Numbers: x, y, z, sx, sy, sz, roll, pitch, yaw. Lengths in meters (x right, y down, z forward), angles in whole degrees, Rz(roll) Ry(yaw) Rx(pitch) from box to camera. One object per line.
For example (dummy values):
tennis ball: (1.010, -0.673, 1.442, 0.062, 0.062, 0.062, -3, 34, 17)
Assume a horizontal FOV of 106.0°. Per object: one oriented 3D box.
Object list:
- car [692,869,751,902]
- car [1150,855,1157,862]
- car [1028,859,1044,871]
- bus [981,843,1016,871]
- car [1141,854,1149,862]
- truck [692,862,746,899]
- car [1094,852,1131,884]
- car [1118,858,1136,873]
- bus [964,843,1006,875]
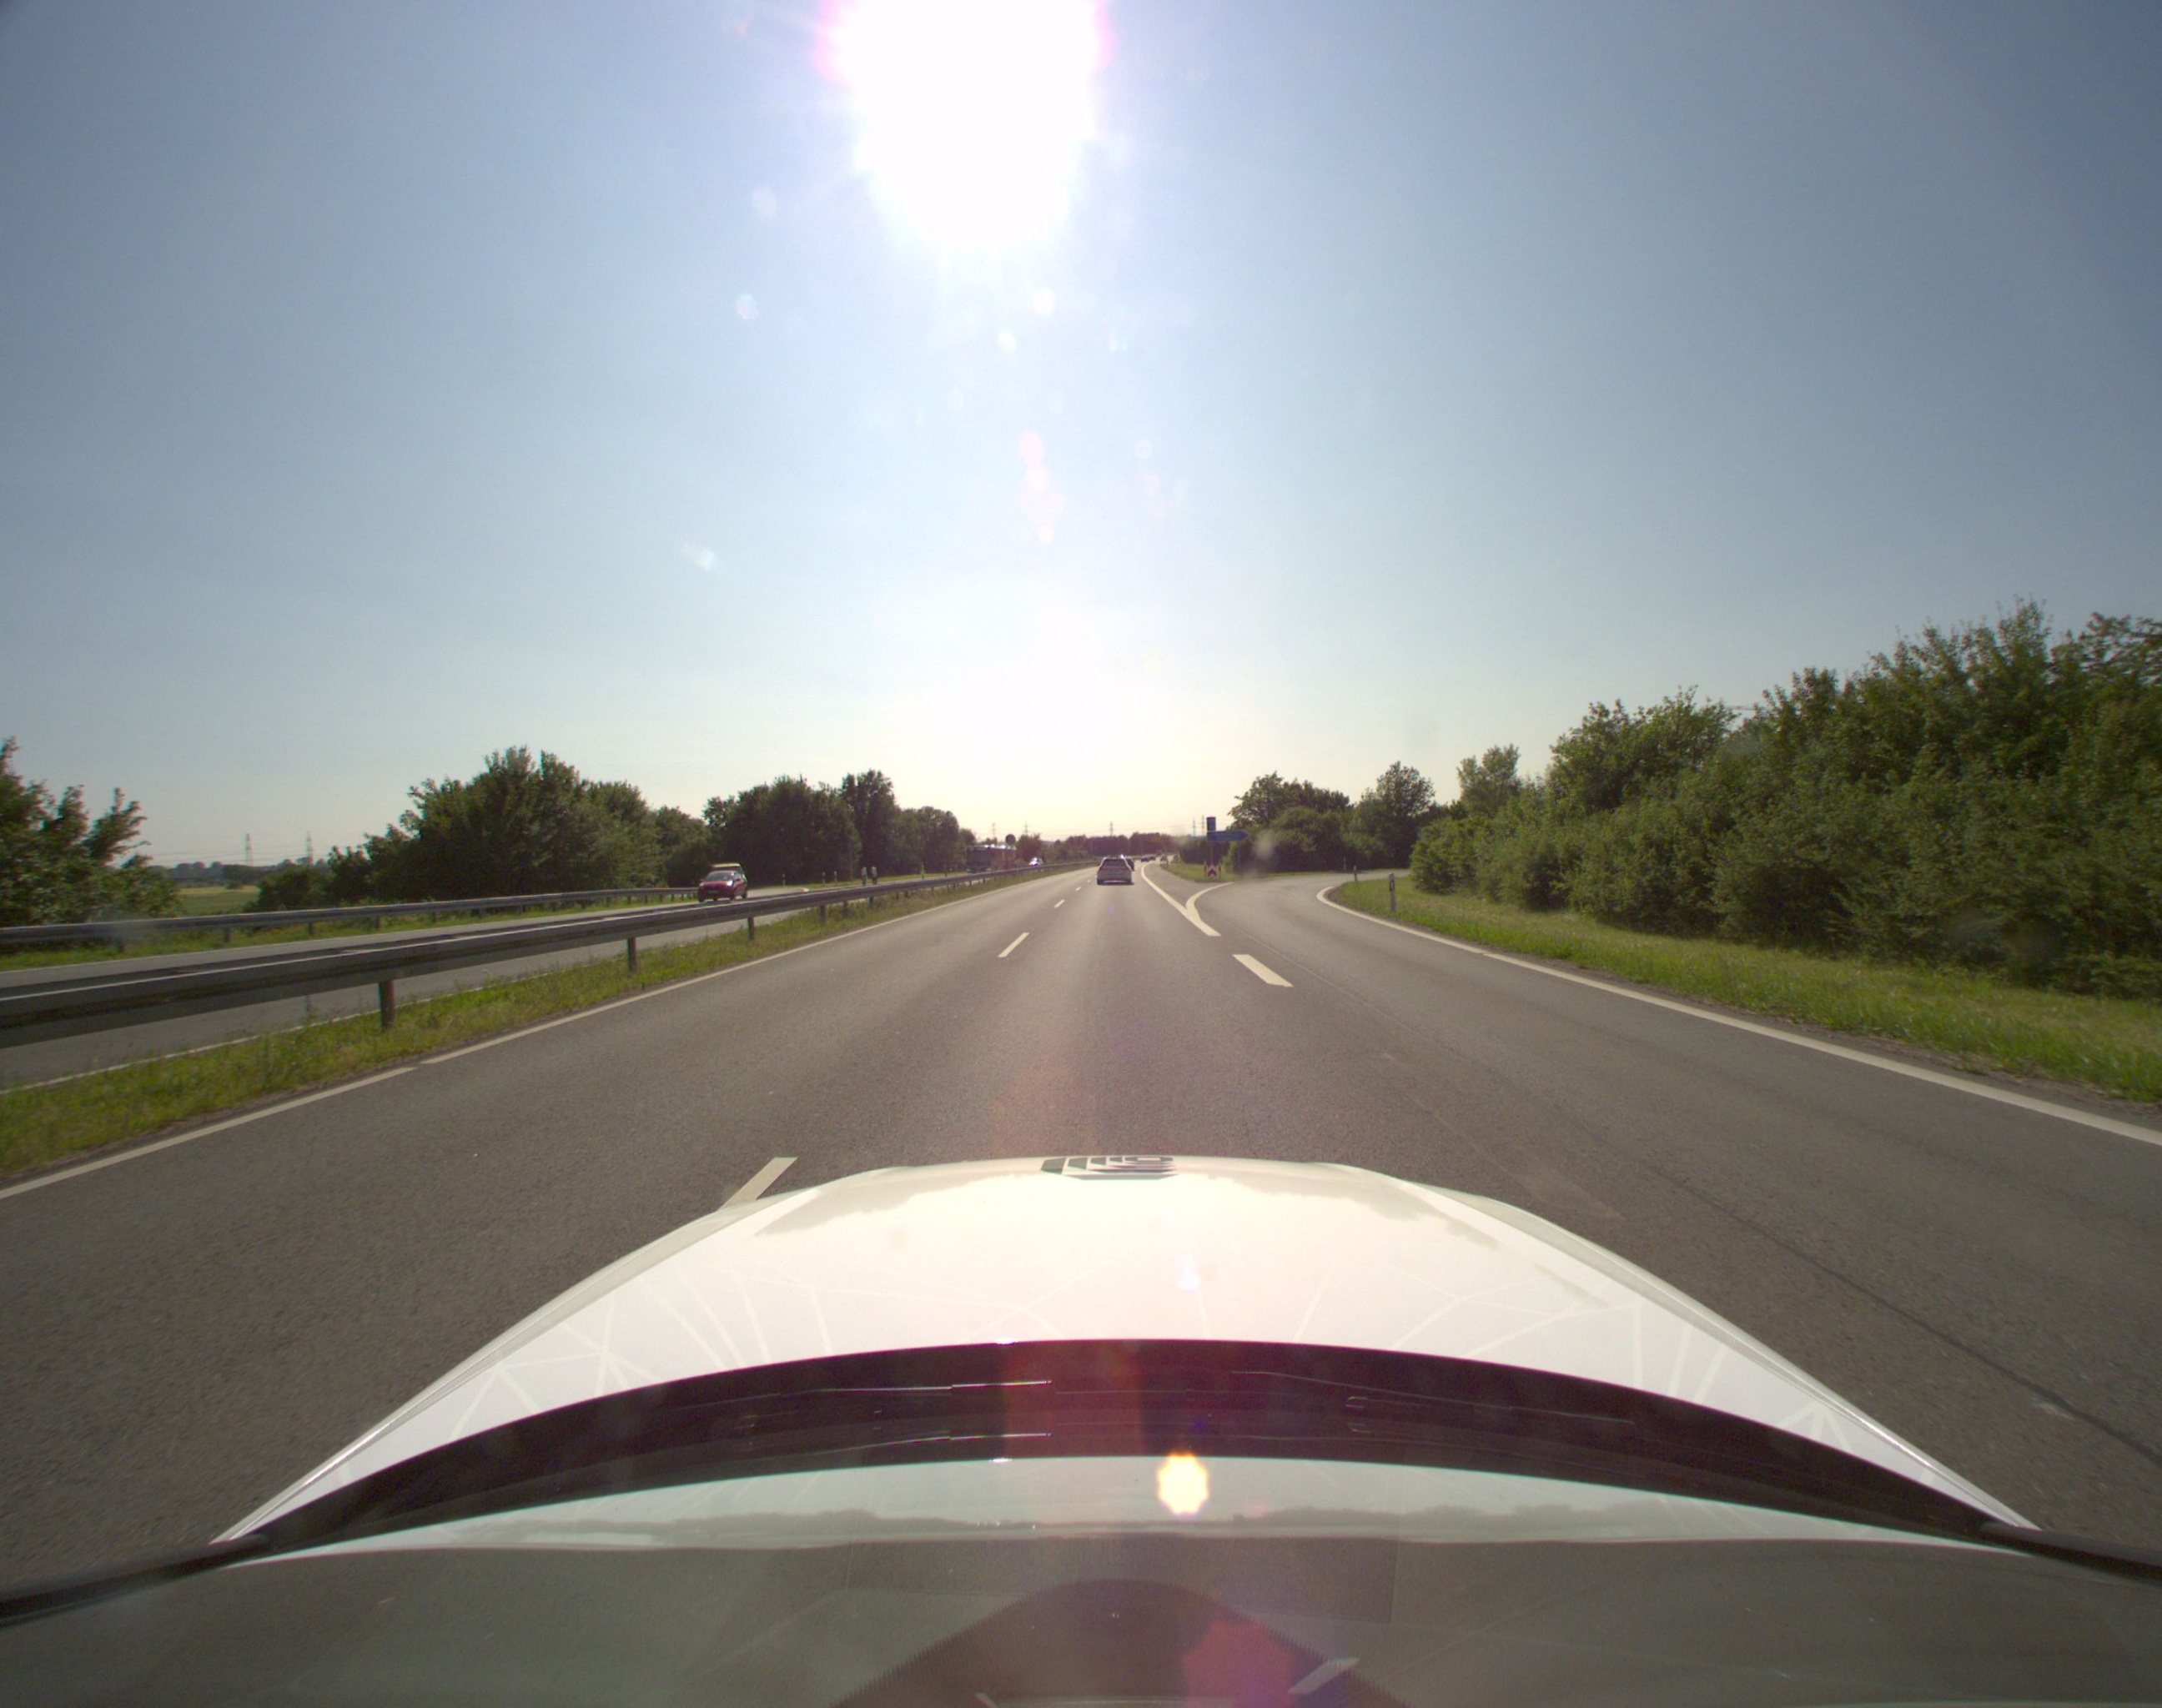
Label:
car: (-18.200, 1.559, 41.363, 1.785, 1.445, 3.986, -2, 0, -10)
car: (20.234, 1.264, 227.742, 1.834, 1.698, 4.002, -1, 0, 2)
car: (-6.922, 1.682, 124.752, 1.985, 1.605, 4.278, 0, 1, 3)
bus: (-9.547, 0.330, 94.631, 2.714, 3.110, 8.399, -2, 0, 3)
car: (15.258, 0.968, 194.309, 1.832, 1.802, 4.007, -1, 0, 6)
truck: (-27.122, 1.999, 60.860, 2.144, 2.453, 6.542, -4, 0, -37)
car: (1.769, 0.724, 44.886, 1.950, 1.601, 4.110, 0, 1, 3)
car: (4.912, 1.202, 87.109, 1.786, 1.543, 3.674, -1, 0, 3)
bus: (-9.949, 0.460, 85.530, 2.714, 3.110, 9.841, -2, 0, 3)
